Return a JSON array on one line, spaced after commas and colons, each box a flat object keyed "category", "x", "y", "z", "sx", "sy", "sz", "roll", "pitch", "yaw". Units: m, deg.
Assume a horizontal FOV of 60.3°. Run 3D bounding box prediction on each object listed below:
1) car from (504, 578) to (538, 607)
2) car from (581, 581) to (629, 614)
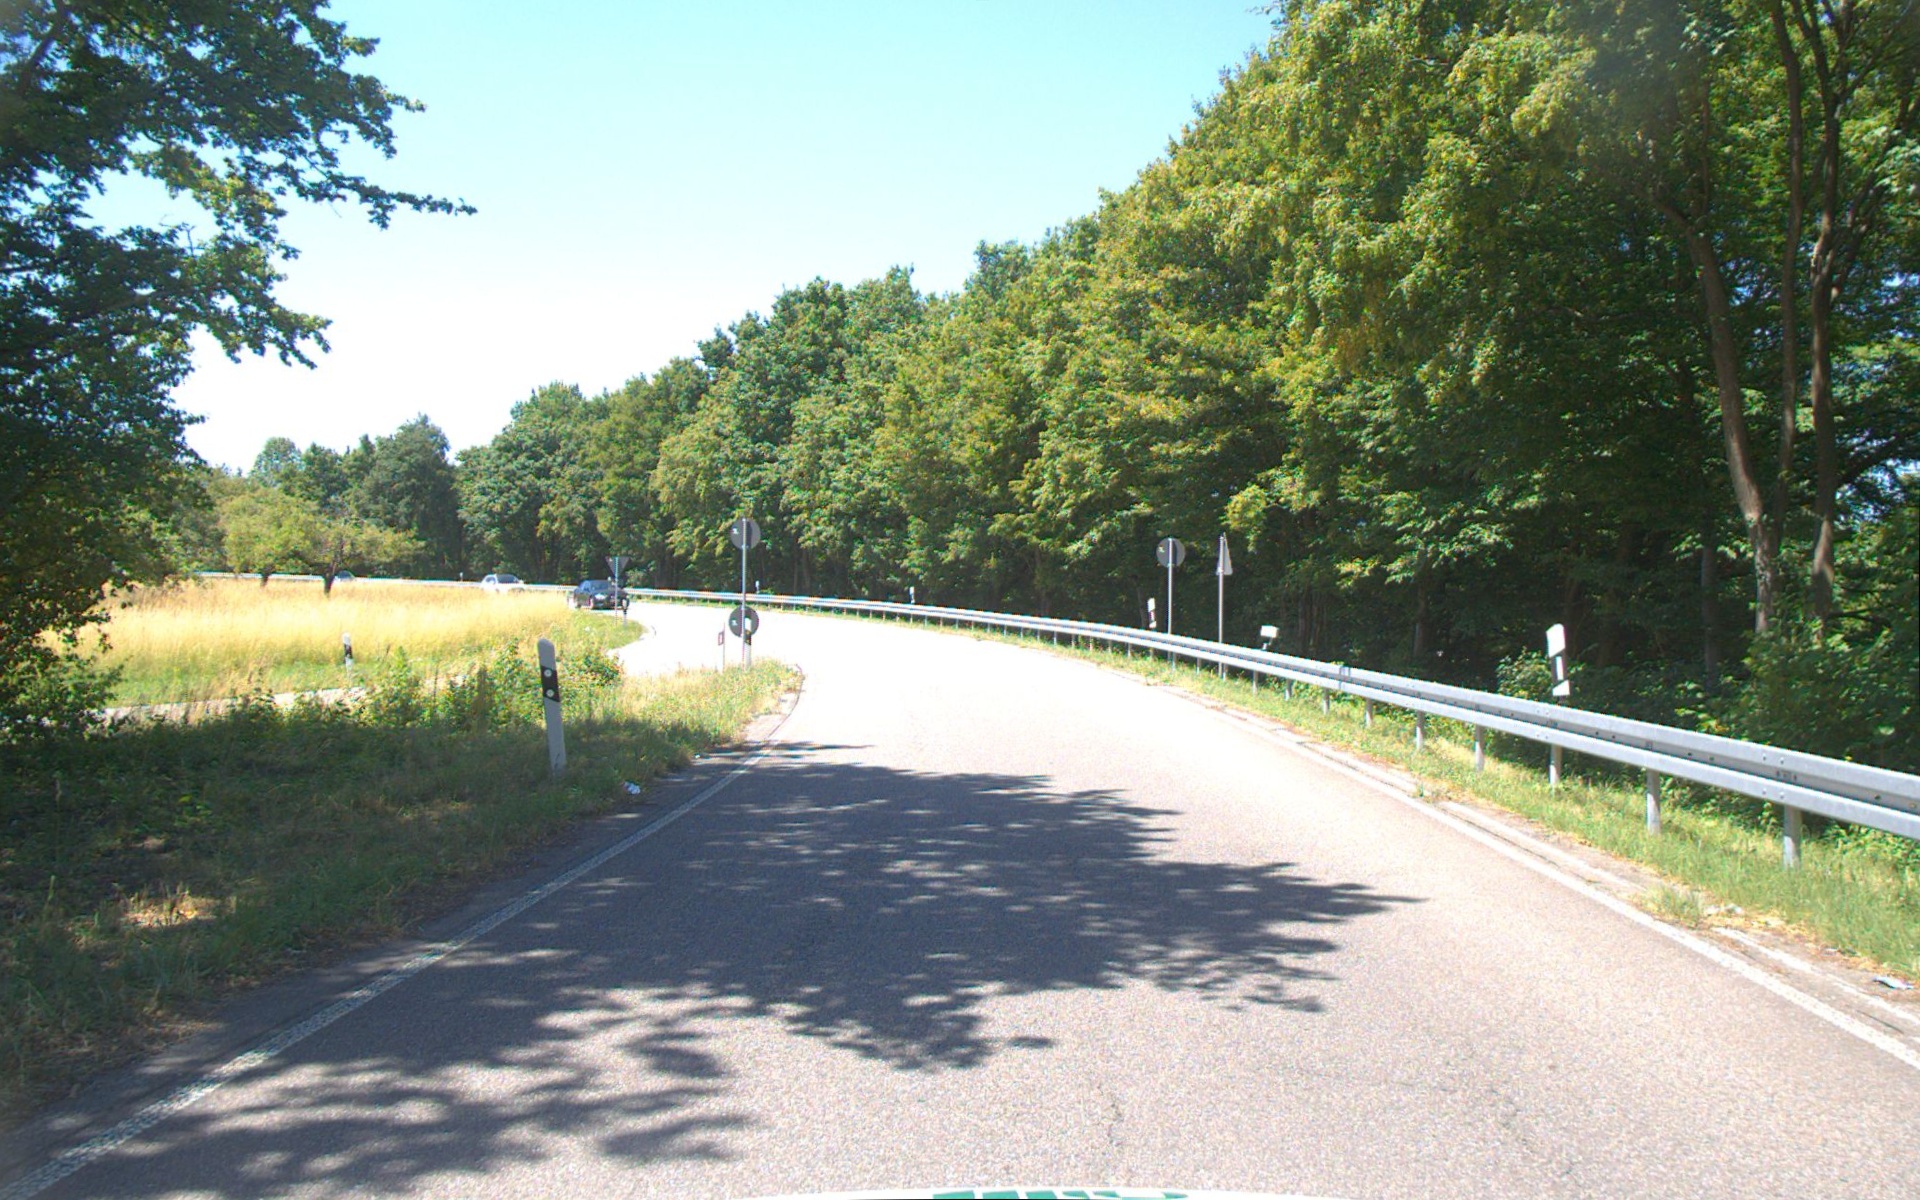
[{"category": "car", "x": -26.486, "y": -0.437, "z": 99.697, "sx": 1.794, "sy": 1.618, "sz": 4.198, "roll": -4, "pitch": 1, "yaw": -17}, {"category": "car", "x": -18.121, "y": -0.138, "z": 84.295, "sx": 1.776, "sy": 1.533, "sz": 4.631, "roll": -2, "pitch": 1, "yaw": -20}]
